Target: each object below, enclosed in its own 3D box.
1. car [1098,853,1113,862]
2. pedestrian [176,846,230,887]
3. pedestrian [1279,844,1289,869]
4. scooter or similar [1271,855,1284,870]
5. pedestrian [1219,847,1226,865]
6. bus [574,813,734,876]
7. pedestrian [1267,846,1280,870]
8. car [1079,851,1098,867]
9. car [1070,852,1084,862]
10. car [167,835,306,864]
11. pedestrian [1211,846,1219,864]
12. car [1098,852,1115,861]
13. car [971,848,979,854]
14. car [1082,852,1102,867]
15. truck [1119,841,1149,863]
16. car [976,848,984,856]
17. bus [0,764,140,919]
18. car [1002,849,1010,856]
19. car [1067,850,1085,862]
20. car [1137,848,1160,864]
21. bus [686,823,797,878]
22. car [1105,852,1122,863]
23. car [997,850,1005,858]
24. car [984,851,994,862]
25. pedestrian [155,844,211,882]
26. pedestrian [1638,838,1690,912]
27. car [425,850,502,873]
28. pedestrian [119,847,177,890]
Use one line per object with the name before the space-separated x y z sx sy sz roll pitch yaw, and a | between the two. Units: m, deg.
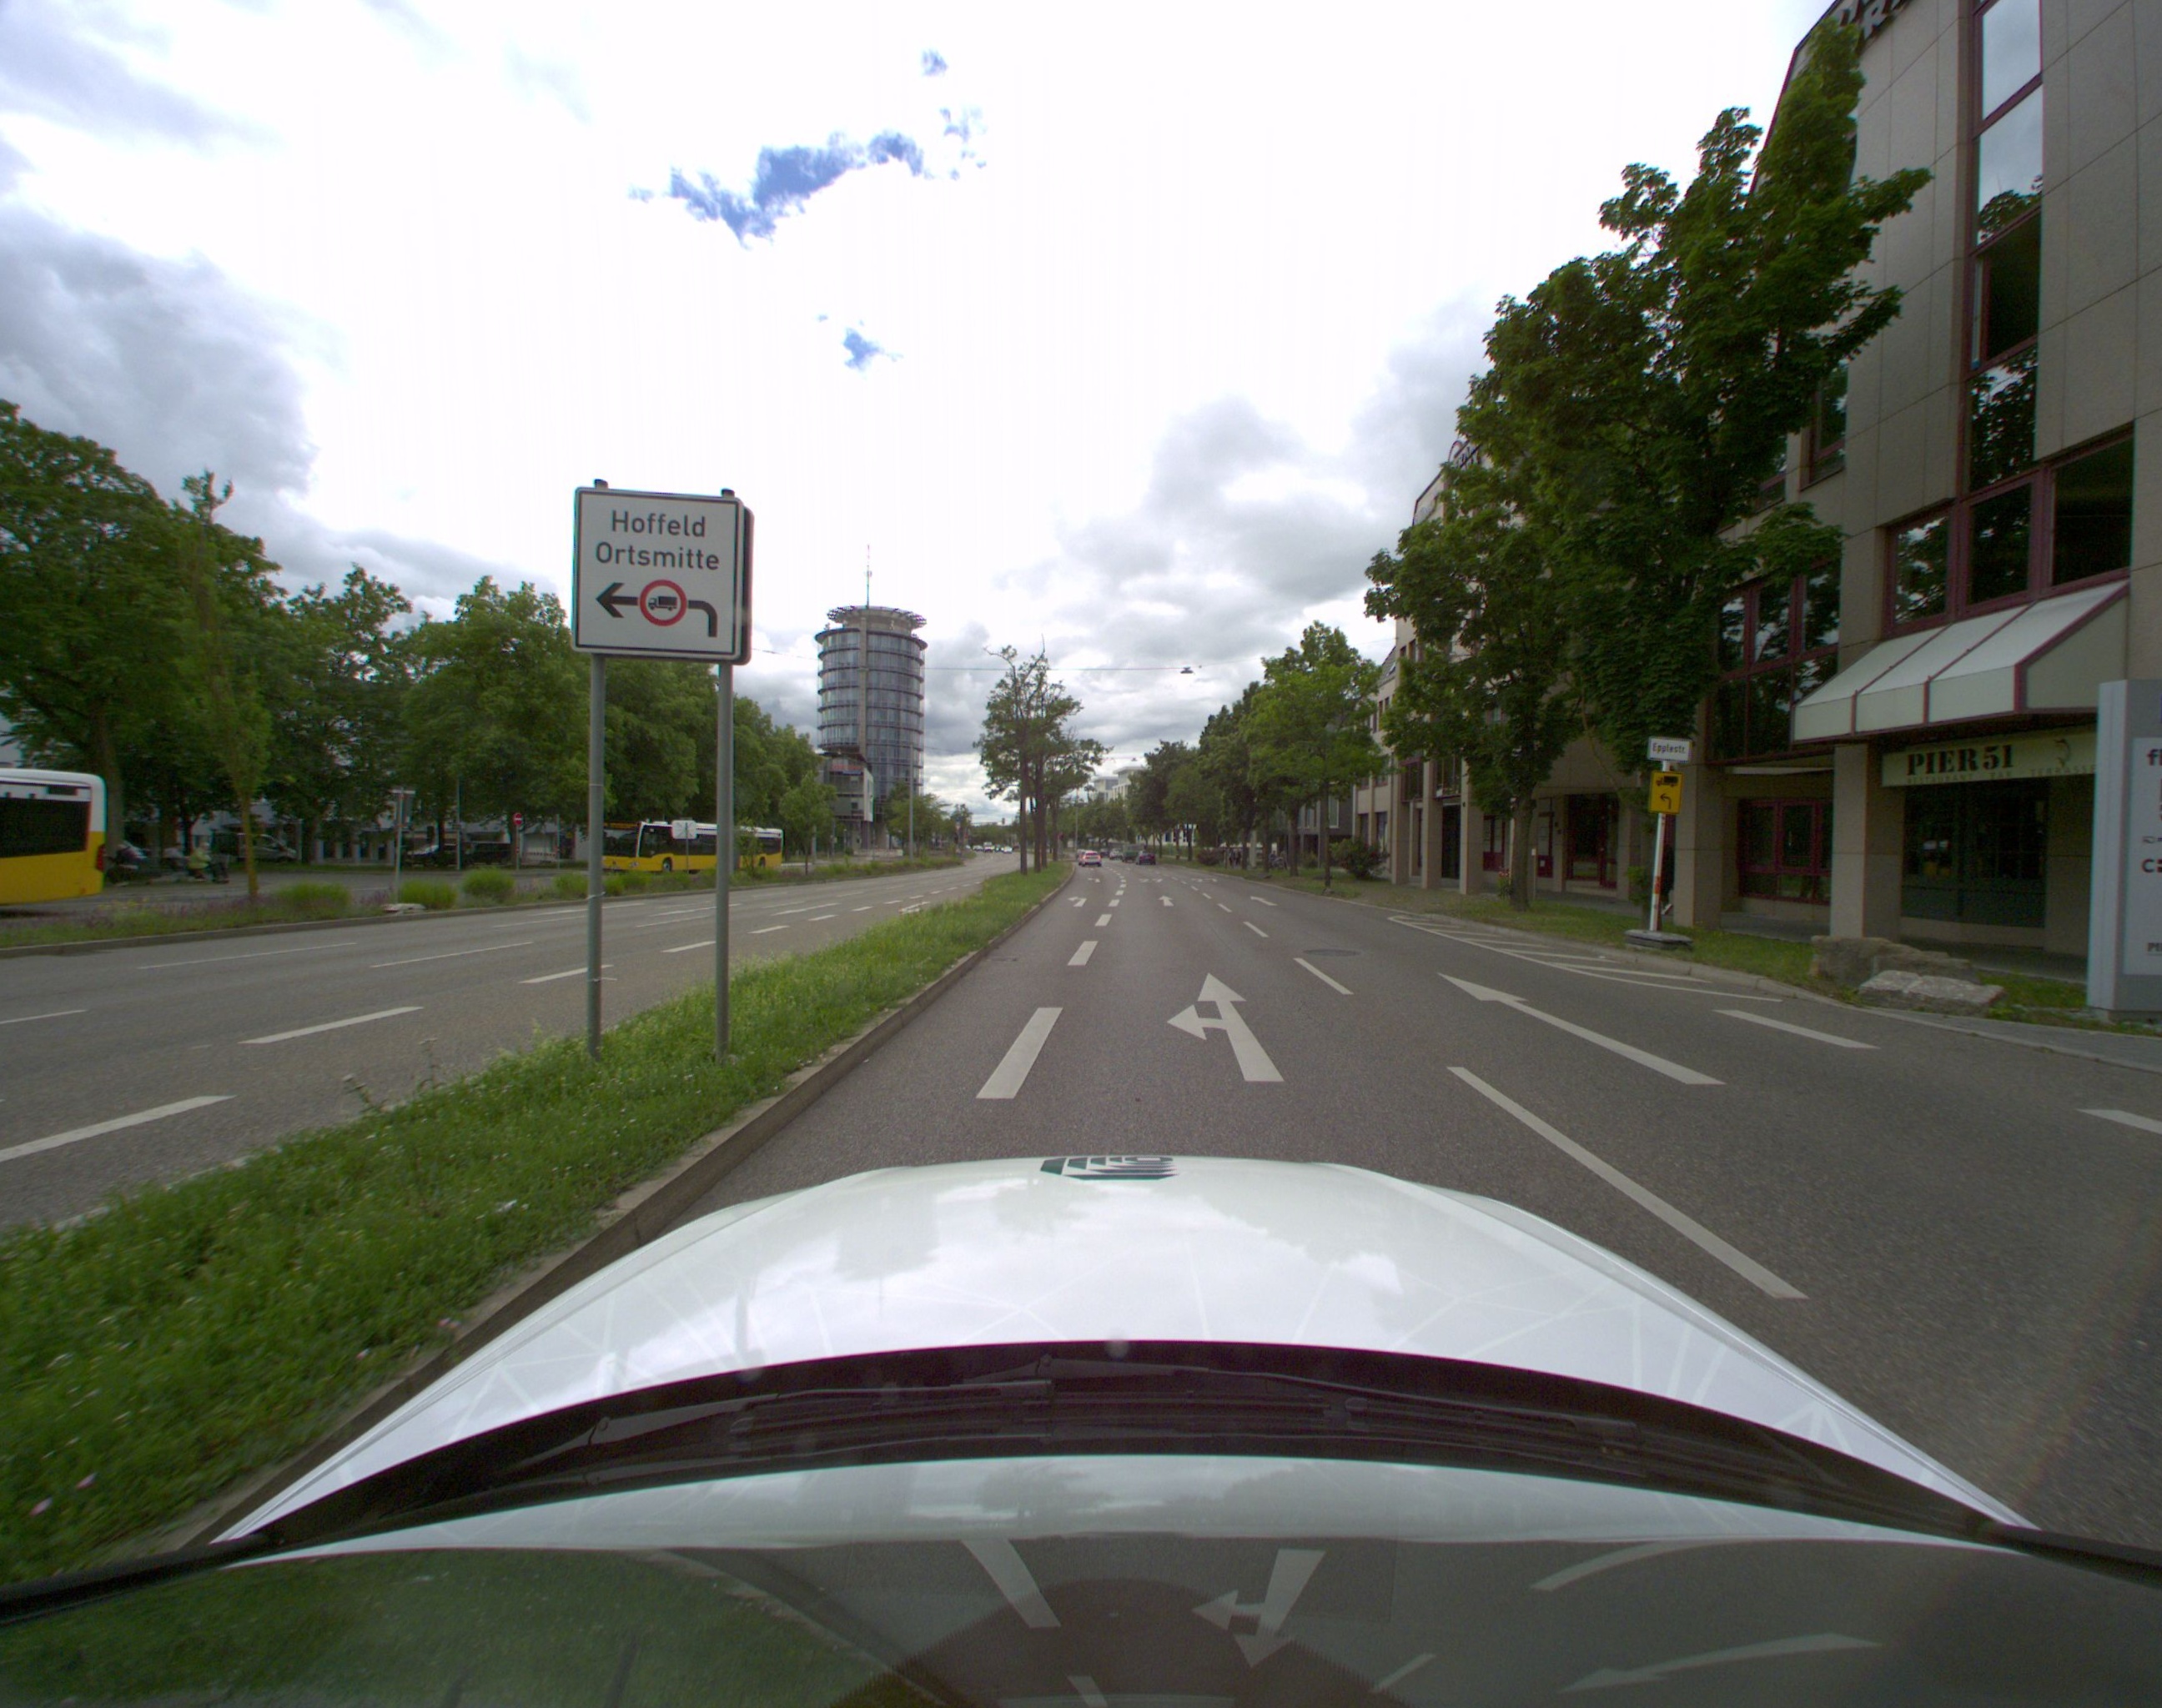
car | 3.922 0.566 129.531 1.989 1.490 3.995 1 0 -3
pedestrian | -27.970 0.383 25.961 0.859 1.290 0.888 0 0 -24
pedestrian | 13.959 0.164 55.944 0.565 1.700 0.830 0 -1 4
scooter or similar | 13.257 0.596 54.969 0.582 0.994 0.845 -1 0 -4
pedestrian | 14.153 0.175 81.448 0.606 1.775 0.954 0 2 -1
bus | -24.409 -0.483 47.580 3.070 3.162 10.746 2 0 3
pedestrian | 13.186 0.288 55.883 0.554 1.653 0.960 -1 0 -4
car | 0.751 0.500 85.862 1.987 1.672 3.999 0 0 0
car | -0.646 0.507 131.708 1.989 1.490 3.995 1 0 -3
car | -50.538 -0.261 48.916 1.977 1.648 5.429 0 0 20
pedestrian | 13.415 0.124 81.398 0.606 1.775 0.954 0 2 -1
car | 3.973 0.381 128.944 1.992 1.508 3.989 0 0 -8
car | -31.918 -0.953 244.380 1.989 1.852 4.319 2 0 -4
car | 1.116 0.533 78.617 1.856 1.449 4.001 0 0 2
truck | 6.238 -0.161 97.314 2.853 2.519 6.280 0 0 -3
car | -27.885 -0.557 225.468 1.989 2.011 4.319 2 0 -4
bus | -23.476 -0.309 14.036 2.793 3.132 9.322 2 0 9
car | -17.065 -0.314 185.127 1.749 1.444 4.129 2 0 -4
car | -0.630 0.235 104.721 1.984 1.508 4.005 0 0 5
car | 6.897 0.153 83.359 1.987 1.596 4.000 0 0 0
bus | -23.803 -0.238 57.844 3.018 3.455 9.921 2 0 4
car | 4.548 0.410 113.711 1.989 1.508 3.995 0 0 -3
car | -20.561 -0.086 209.113 1.989 1.930 3.995 2 0 -4
car | -22.860 0.538 202.059 1.989 2.634 5.867 2 0 -4
pedestrian | -29.657 0.297 26.909 0.889 1.254 0.858 0 0 1
pedestrian | 13.857 0.491 19.384 0.592 1.705 0.971 0 0 5
car | -43.309 0.484 57.223 1.985 1.581 4.252 0 0 4
pedestrian | -27.964 0.424 24.424 0.860 1.254 0.887 0 0 -28
